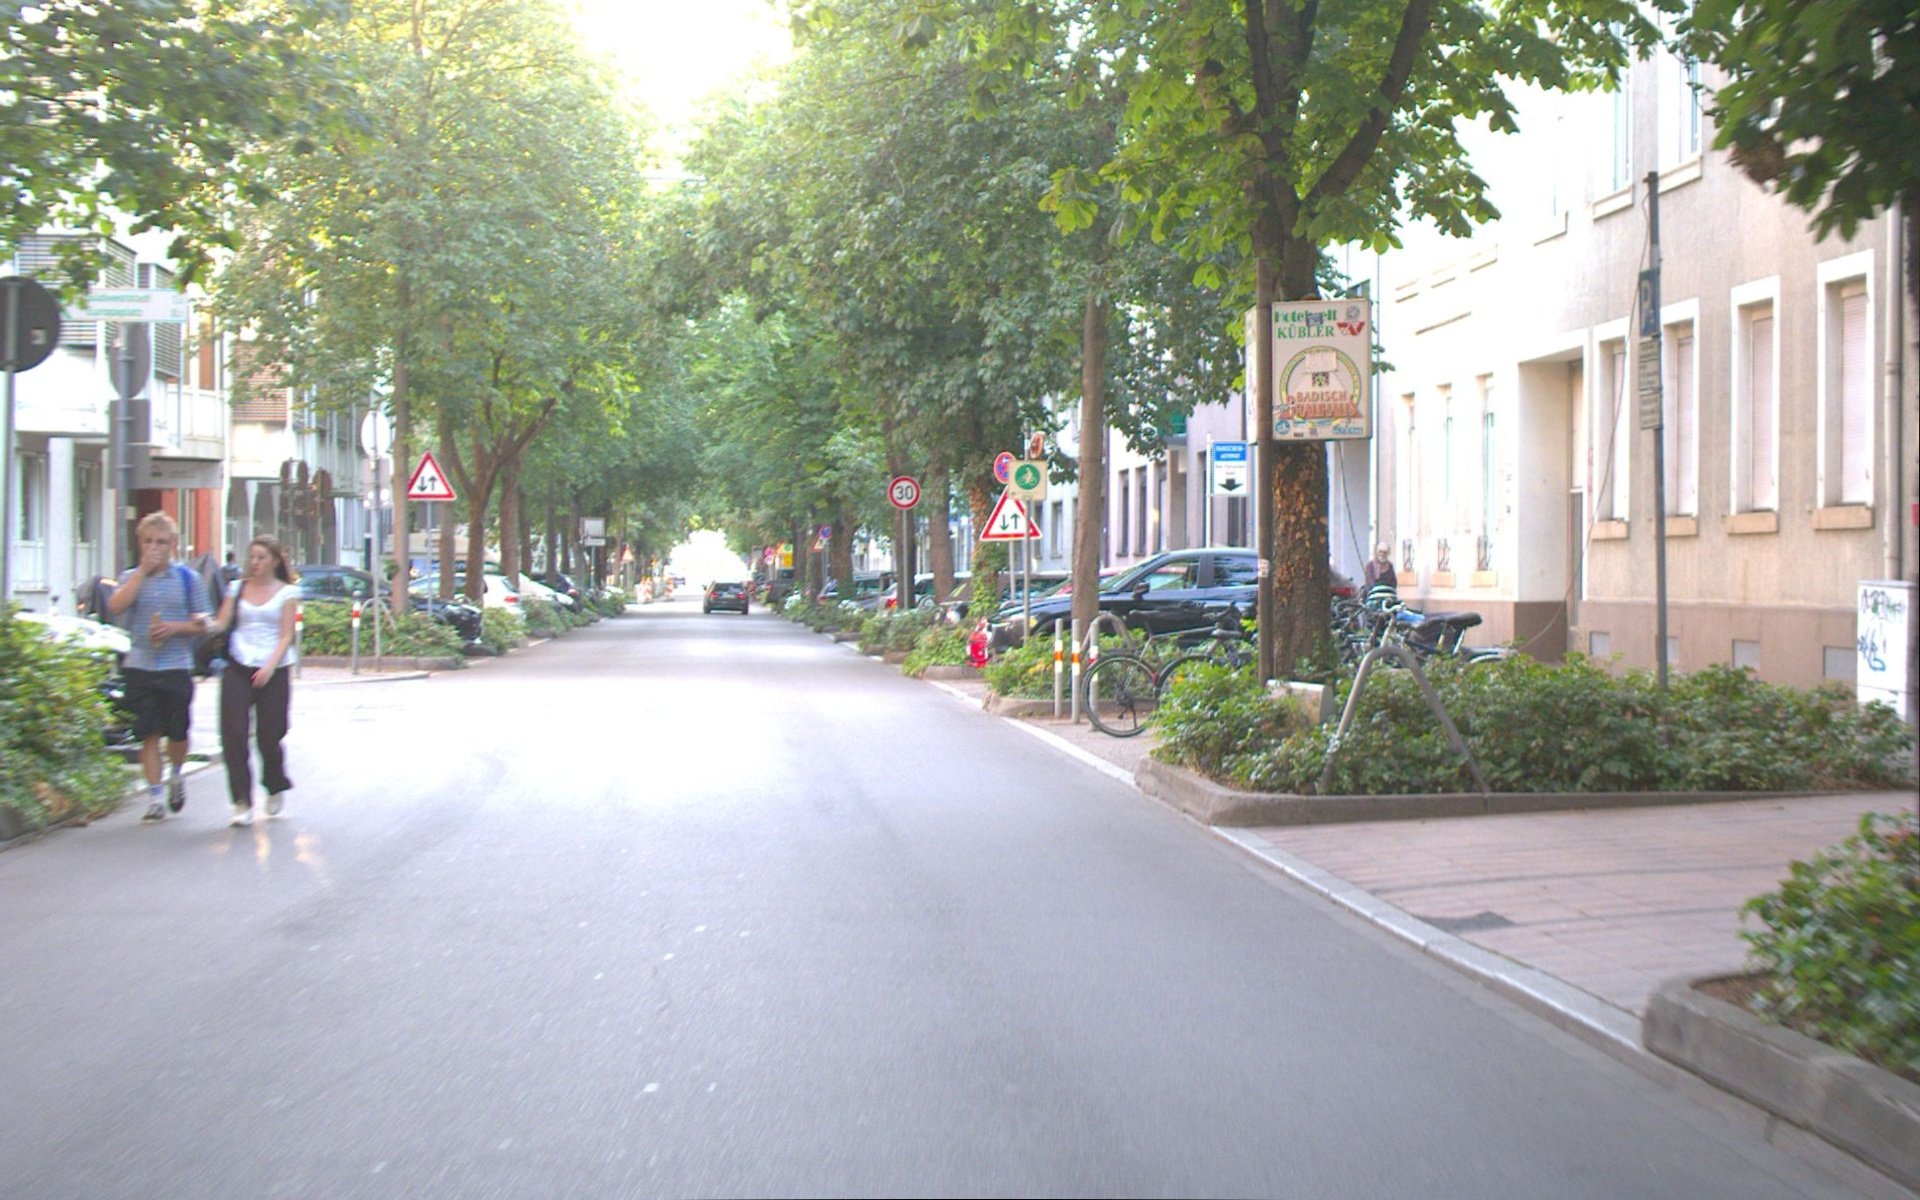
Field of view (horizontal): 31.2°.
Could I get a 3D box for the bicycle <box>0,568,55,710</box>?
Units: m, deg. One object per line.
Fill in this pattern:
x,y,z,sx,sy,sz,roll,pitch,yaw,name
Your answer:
-7.438,0.296,26.585,0.522,1.055,1.862,3,-1,-6,bicycle

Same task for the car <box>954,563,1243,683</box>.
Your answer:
1.764,0.277,44.658,3.483,1.447,1.900,-1,1,-6,car

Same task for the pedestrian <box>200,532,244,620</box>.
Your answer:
-14.446,-0.466,67.319,0.703,1.722,0.905,1,0,-4,pedestrian

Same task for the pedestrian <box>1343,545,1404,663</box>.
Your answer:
5.477,0.049,45.560,0.655,1.531,0.831,-1,0,-3,pedestrian

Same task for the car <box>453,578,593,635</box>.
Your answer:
-13.670,0.198,107.702,4.202,1.630,1.963,-2,0,-4,car

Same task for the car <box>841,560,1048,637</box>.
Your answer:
-0.391,-0.050,79.863,4.717,1.704,1.950,0,1,-2,car

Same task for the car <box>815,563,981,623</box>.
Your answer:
-1.720,-0.193,95.183,4.508,1.516,1.995,-2,0,-1,car

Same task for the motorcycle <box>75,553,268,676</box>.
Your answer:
-9.782,0.178,42.632,2.208,1.476,0.859,0,1,-22,motorcycle

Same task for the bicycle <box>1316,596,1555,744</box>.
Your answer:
3.870,0.559,28.024,1.794,1.139,0.651,-1,1,-12,bicycle

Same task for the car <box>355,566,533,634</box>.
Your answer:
-11.878,0.000,79.324,3.870,1.481,1.757,1,0,-2,car

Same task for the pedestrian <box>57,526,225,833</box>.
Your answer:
-4.732,0.444,19.900,0.794,1.731,0.831,-1,0,-4,pedestrian

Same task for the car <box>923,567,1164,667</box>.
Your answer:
1.271,0.247,53.168,3.483,1.447,1.900,-1,1,-6,car

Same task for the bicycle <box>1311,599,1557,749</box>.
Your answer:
3.741,0.577,27.196,1.794,1.124,0.664,-1,1,-10,bicycle

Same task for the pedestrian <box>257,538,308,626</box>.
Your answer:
-13.591,-0.366,68.973,0.704,1.751,0.739,0,0,20,pedestrian

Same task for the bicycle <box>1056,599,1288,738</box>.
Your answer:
1.826,0.581,29.687,1.837,1.132,0.745,-1,1,-14,bicycle

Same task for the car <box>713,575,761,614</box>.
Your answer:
-9.344,-0.239,144.123,1.956,1.560,4.283,-2,0,-4,car

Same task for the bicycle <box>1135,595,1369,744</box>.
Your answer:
2.403,0.562,28.405,1.829,1.174,0.601,-1,1,-5,bicycle

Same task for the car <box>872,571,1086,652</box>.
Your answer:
0.352,0.209,65.988,3.875,1.435,1.848,-1,1,-7,car

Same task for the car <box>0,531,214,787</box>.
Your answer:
-7.514,0.329,23.531,4.425,1.645,1.873,2,1,-3,car

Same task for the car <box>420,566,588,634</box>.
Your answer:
-13.230,-0.009,99.989,4.681,1.848,1.963,-2,0,-4,car

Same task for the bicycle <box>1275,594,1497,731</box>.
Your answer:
3.723,0.535,30.075,1.794,1.139,0.669,-1,1,-13,bicycle

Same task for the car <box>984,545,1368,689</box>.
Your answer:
2.556,0.186,41.402,4.425,1.650,1.900,0,1,-2,car

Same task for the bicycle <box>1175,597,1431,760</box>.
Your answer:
2.605,0.589,26.210,1.829,1.174,0.673,-1,1,-5,bicycle

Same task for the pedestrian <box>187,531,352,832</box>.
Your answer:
-3.917,0.451,19.543,0.794,1.665,0.831,-1,0,-4,pedestrian

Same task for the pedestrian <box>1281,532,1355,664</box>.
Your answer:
4.736,-0.030,45.506,0.689,1.731,0.674,-1,0,-35,pedestrian

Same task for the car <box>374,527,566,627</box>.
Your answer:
-12.445,-0.575,87.569,4.681,2.469,2.000,0,0,-4,car

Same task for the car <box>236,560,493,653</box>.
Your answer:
-10.079,0.106,58.440,4.126,1.481,1.930,1,0,-5,car

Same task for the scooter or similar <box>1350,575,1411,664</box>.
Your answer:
5.511,0.245,45.077,0.655,1.149,0.831,-1,0,-3,scooter or similar

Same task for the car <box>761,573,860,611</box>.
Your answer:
-6.578,-0.353,151.067,4.267,1.560,1.963,-2,0,-4,car

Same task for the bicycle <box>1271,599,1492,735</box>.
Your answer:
3.597,0.563,29.380,1.794,1.104,0.500,-1,1,-9,bicycle
